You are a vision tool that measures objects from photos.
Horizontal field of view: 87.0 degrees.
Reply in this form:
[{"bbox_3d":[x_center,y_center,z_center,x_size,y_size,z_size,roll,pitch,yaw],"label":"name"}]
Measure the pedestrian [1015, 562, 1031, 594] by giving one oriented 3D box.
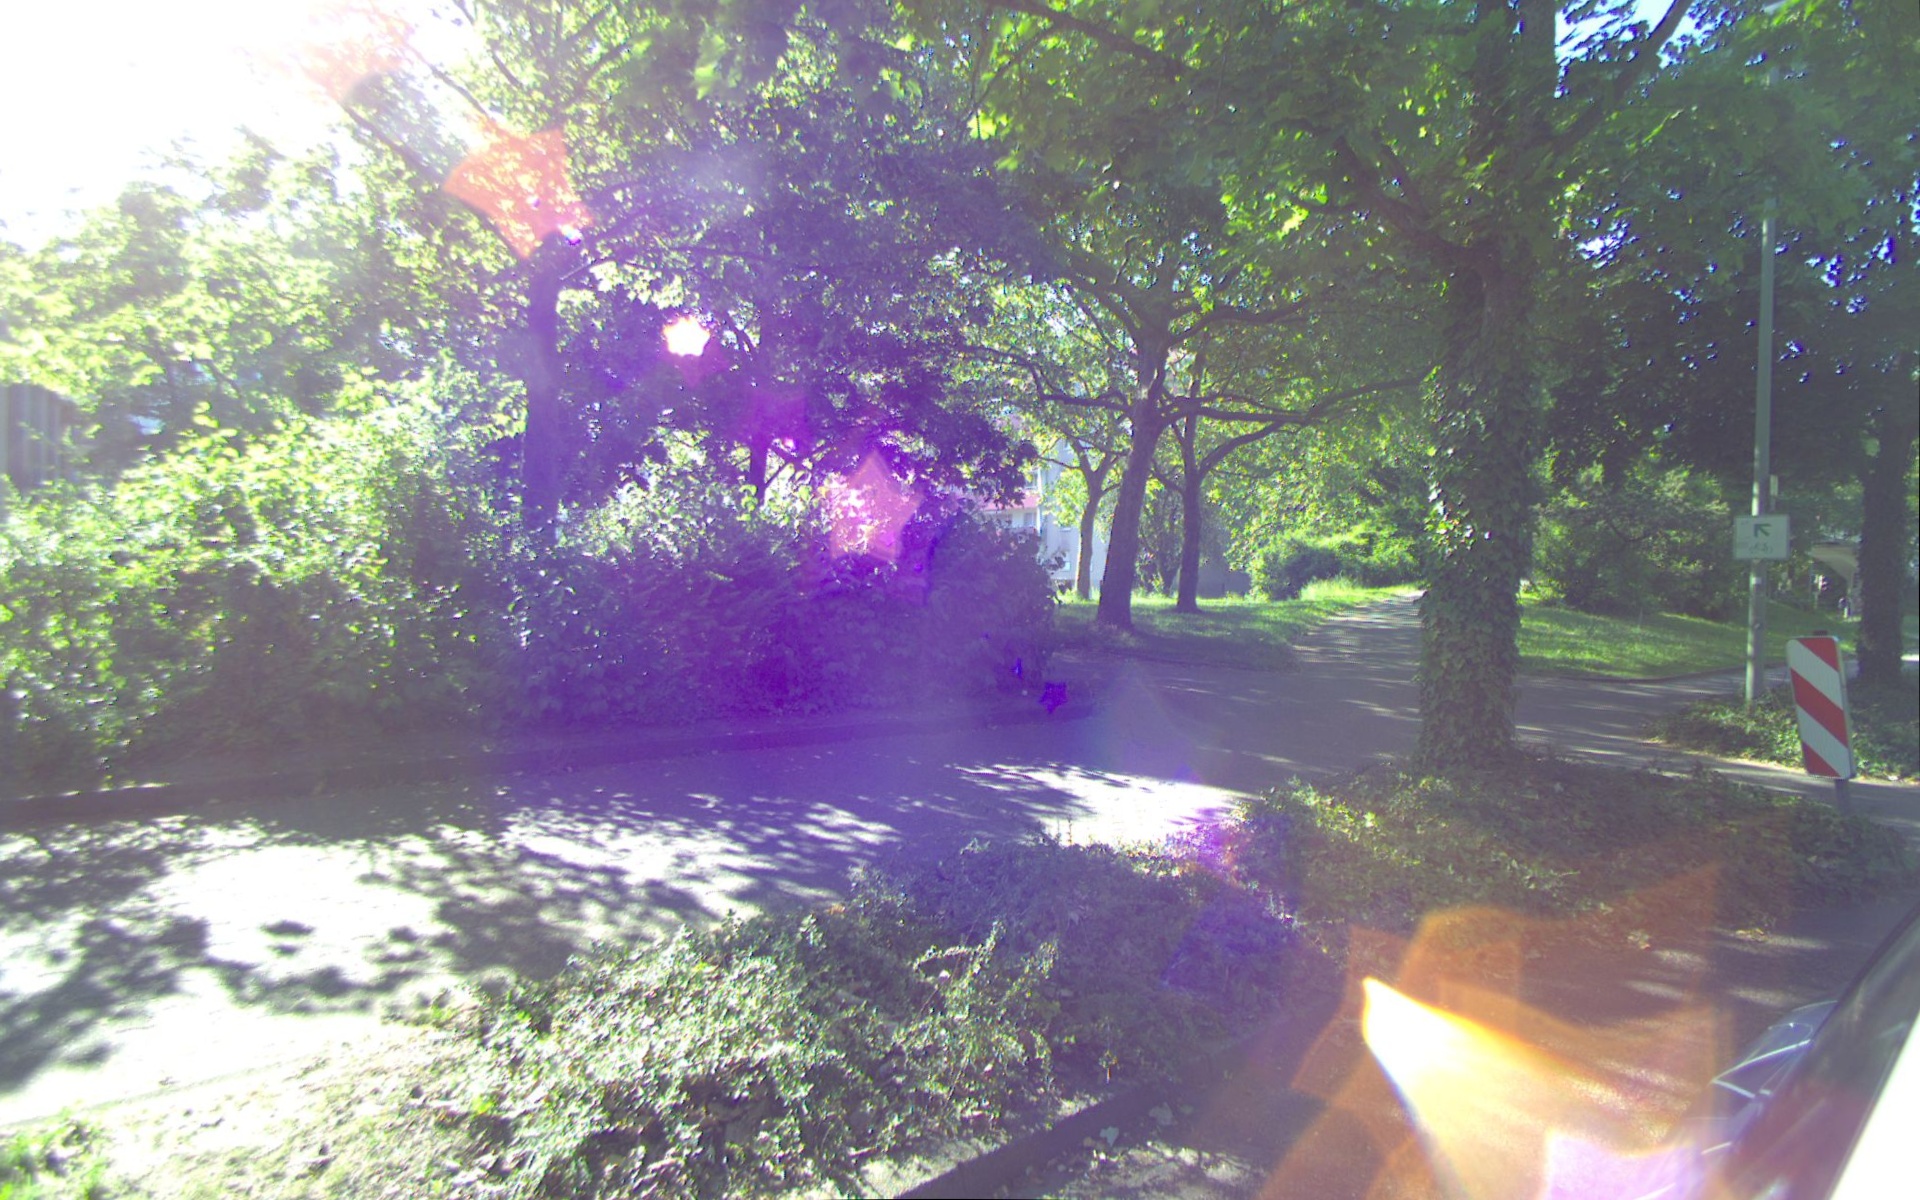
[{"bbox_3d":[3.282,-1.137,52.714,0.619,1.608,0.676,0,0,21],"label":"pedestrian"}]
